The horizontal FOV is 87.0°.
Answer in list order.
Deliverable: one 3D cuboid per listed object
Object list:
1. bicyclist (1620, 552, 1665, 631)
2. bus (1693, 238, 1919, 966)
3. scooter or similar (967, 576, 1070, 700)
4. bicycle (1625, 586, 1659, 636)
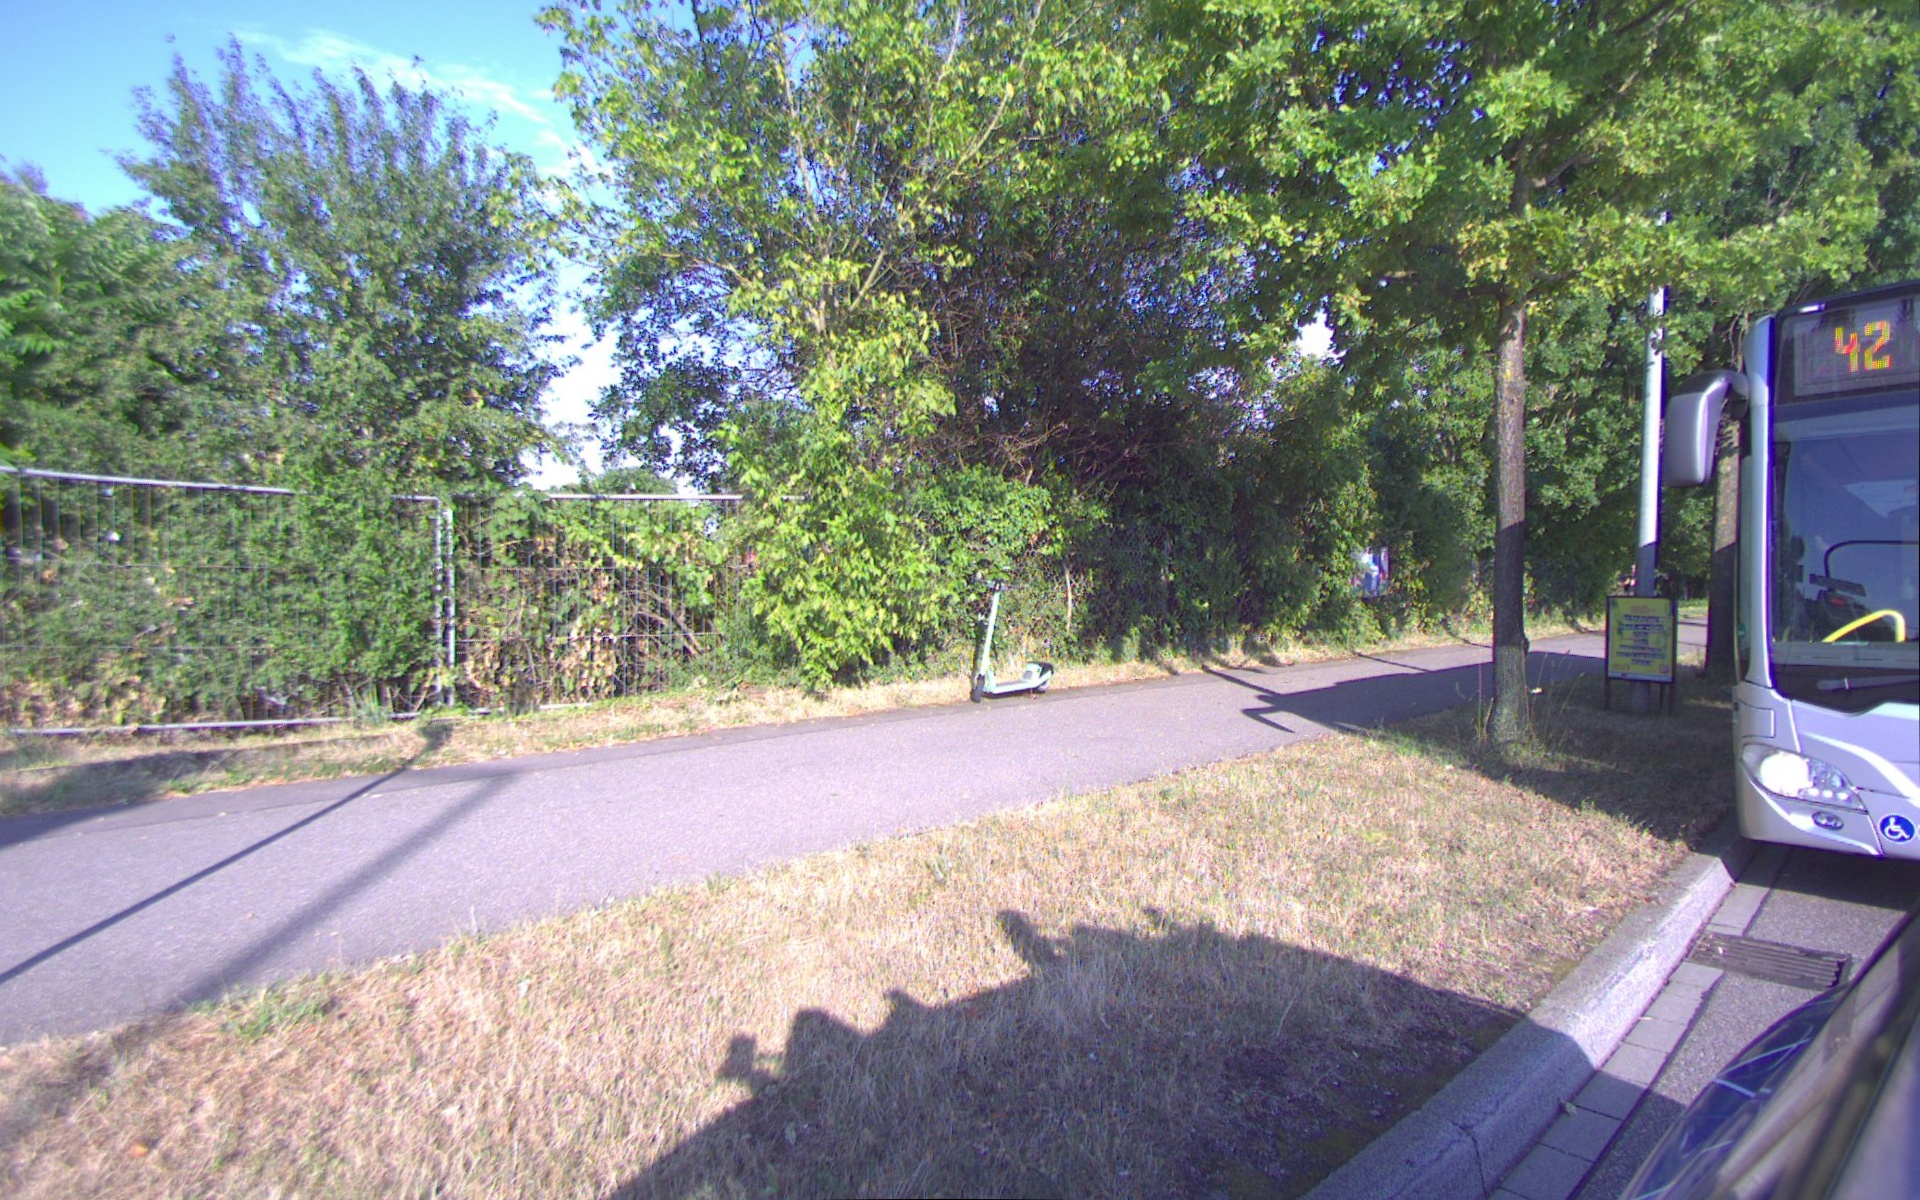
[{"bbox_3d":[16.891,-0.223,25.035,0.619,1.850,0.818,9,7,40],"label":"bicyclist"},{"bbox_3d":[8.555,-0.013,7.910,11.525,3.081,2.590,0,1,-44],"label":"bus"},{"bbox_3d":[0.580,0.348,9.803,1.076,1.139,0.249,0,4,-41],"label":"scooter or similar"},{"bbox_3d":[16.903,0.270,25.075,0.414,1.172,1.863,5,3,40],"label":"bicycle"}]
